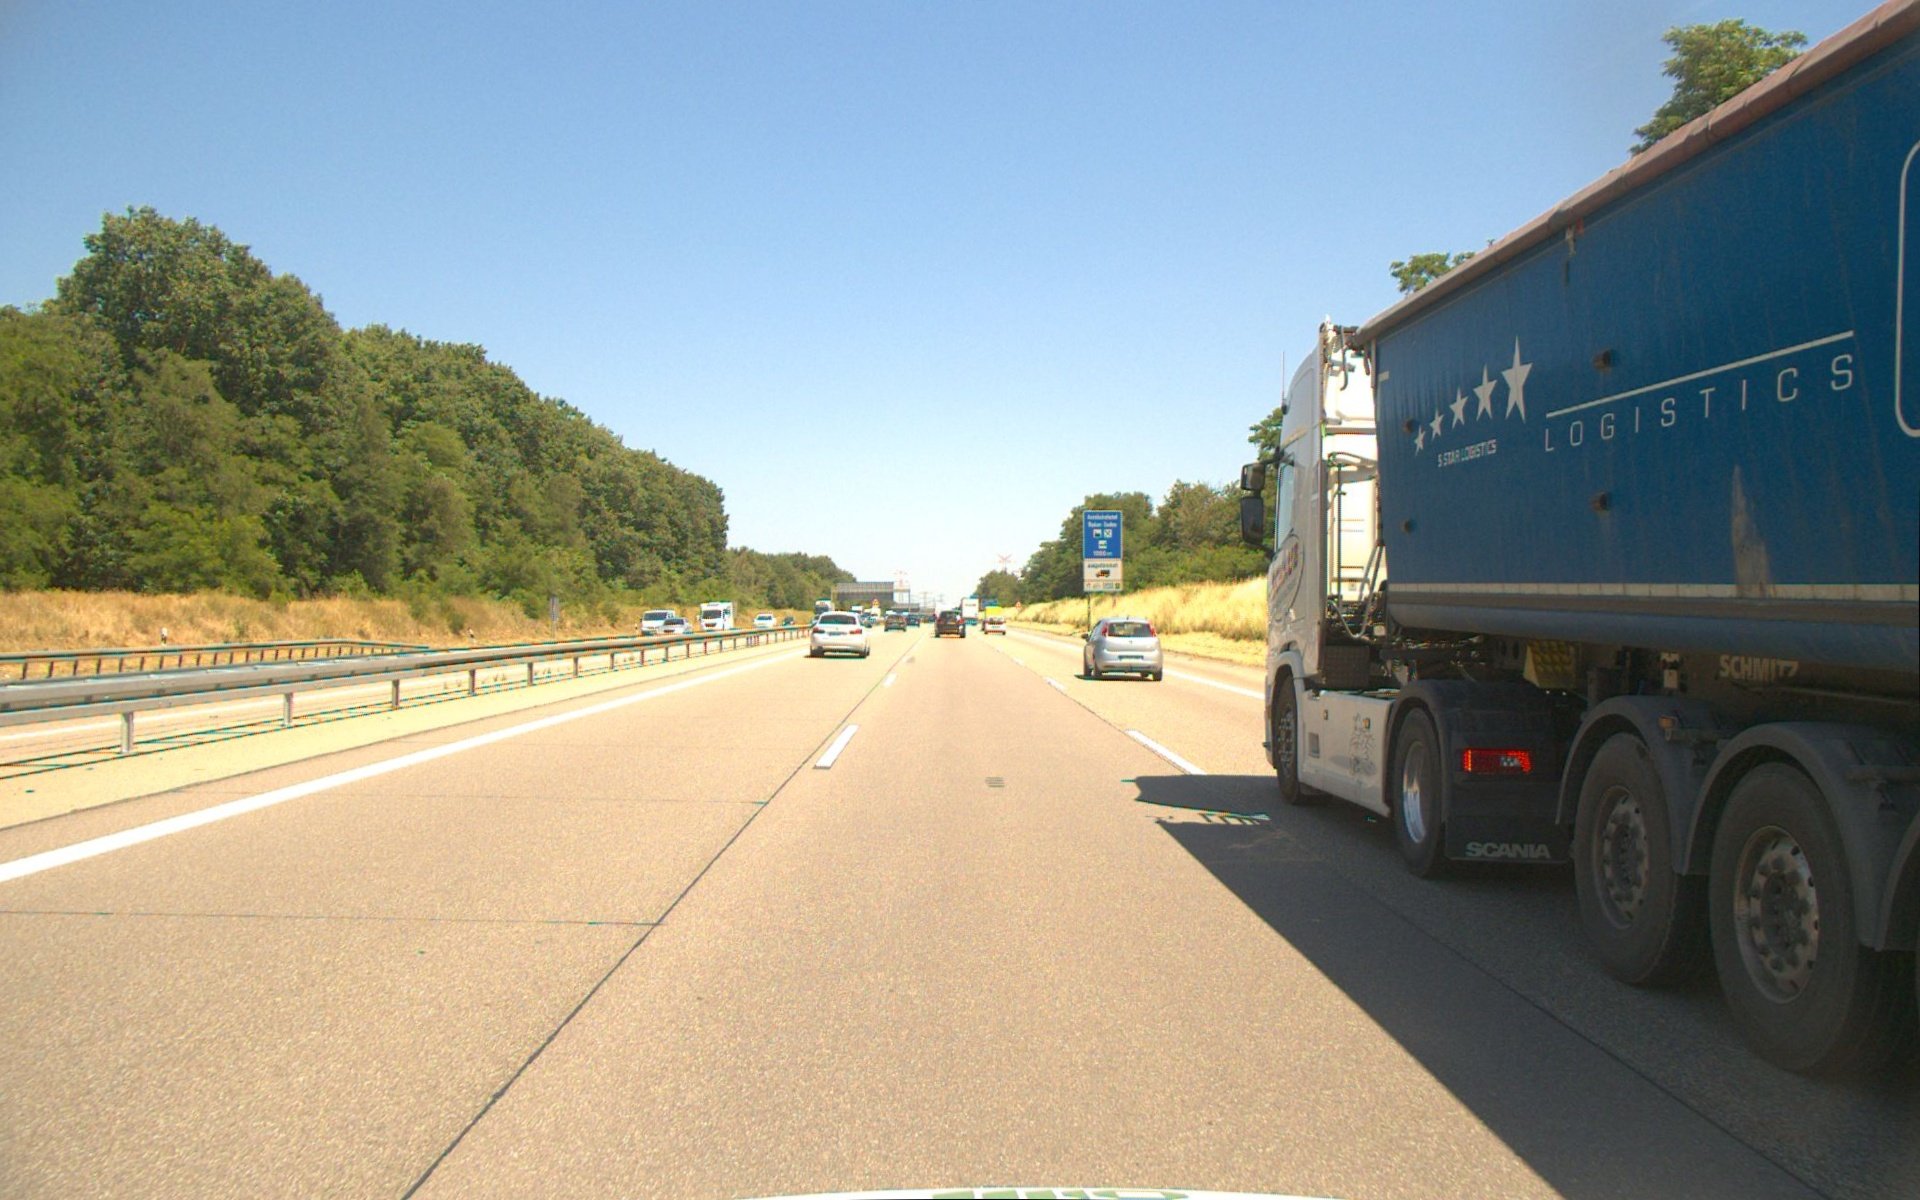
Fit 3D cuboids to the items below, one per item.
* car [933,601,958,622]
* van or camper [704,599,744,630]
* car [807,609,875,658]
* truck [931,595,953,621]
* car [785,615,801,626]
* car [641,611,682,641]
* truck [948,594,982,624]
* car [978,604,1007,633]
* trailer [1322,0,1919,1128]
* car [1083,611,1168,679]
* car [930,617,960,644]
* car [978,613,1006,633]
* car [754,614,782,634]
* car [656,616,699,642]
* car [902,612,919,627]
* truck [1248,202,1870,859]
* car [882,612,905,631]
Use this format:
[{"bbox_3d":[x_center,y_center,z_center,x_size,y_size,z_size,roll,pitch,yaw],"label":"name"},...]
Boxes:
[{"bbox_3d":[-1.141,0.878,125.928,1.855,1.495,4.260,1,0,-1],"label":"car"},{"bbox_3d":[-20.972,1.295,147.182,2.412,2.620,7.768,-2,-1,-1],"label":"van or camper"},{"bbox_3d":[-3.927,1.099,55.417,1.924,1.530,5.403,1,-1,-1],"label":"car"},{"bbox_3d":[-2.112,0.929,190.525,2.380,2.935,6.202,1,-1,-2],"label":"truck"},{"bbox_3d":[-22.409,2.776,221.976,1.777,1.420,4.110,-2,-1,0],"label":"car"},{"bbox_3d":[-21.109,1.799,117.148,1.953,1.987,5.243,-2,-1,-1],"label":"car"},{"bbox_3d":[0.770,1.376,258.727,3.917,4.391,9.864,2,-1,-7],"label":"truck"},{"bbox_3d":[3.078,1.803,157.417,2.612,2.680,6.112,1,-1,0],"label":"car"},{"bbox_3d":[4.043,-0.413,7.521,2.681,3.824,9.107,0,0,-1],"label":"trailer"},{"bbox_3d":[3.993,1.065,40.365,1.684,1.517,3.737,1,0,0],"label":"car"},{"bbox_3d":[-0.969,1.950,106.433,1.795,1.701,3.998,1,-1,-2],"label":"car"},{"bbox_3d":[2.482,1.829,128.981,1.785,1.518,3.734,1,-1,-4],"label":"car"},{"bbox_3d":[-17.888,2.227,154.342,1.953,1.724,5.243,-2,-1,-1],"label":"car"},{"bbox_3d":[-17.567,1.779,103.012,1.813,1.554,5.204,-1,-1,0],"label":"car"},{"bbox_3d":[-5.700,2.249,189.304,1.837,1.608,3.928,1,0,0],"label":"car"},{"bbox_3d":[4.015,-0.414,12.629,2.629,3.824,5.944,0,0,0],"label":"truck"},{"bbox_3d":[-5.485,1.767,136.703,1.794,1.457,4.998,1,0,-1],"label":"car"}]
